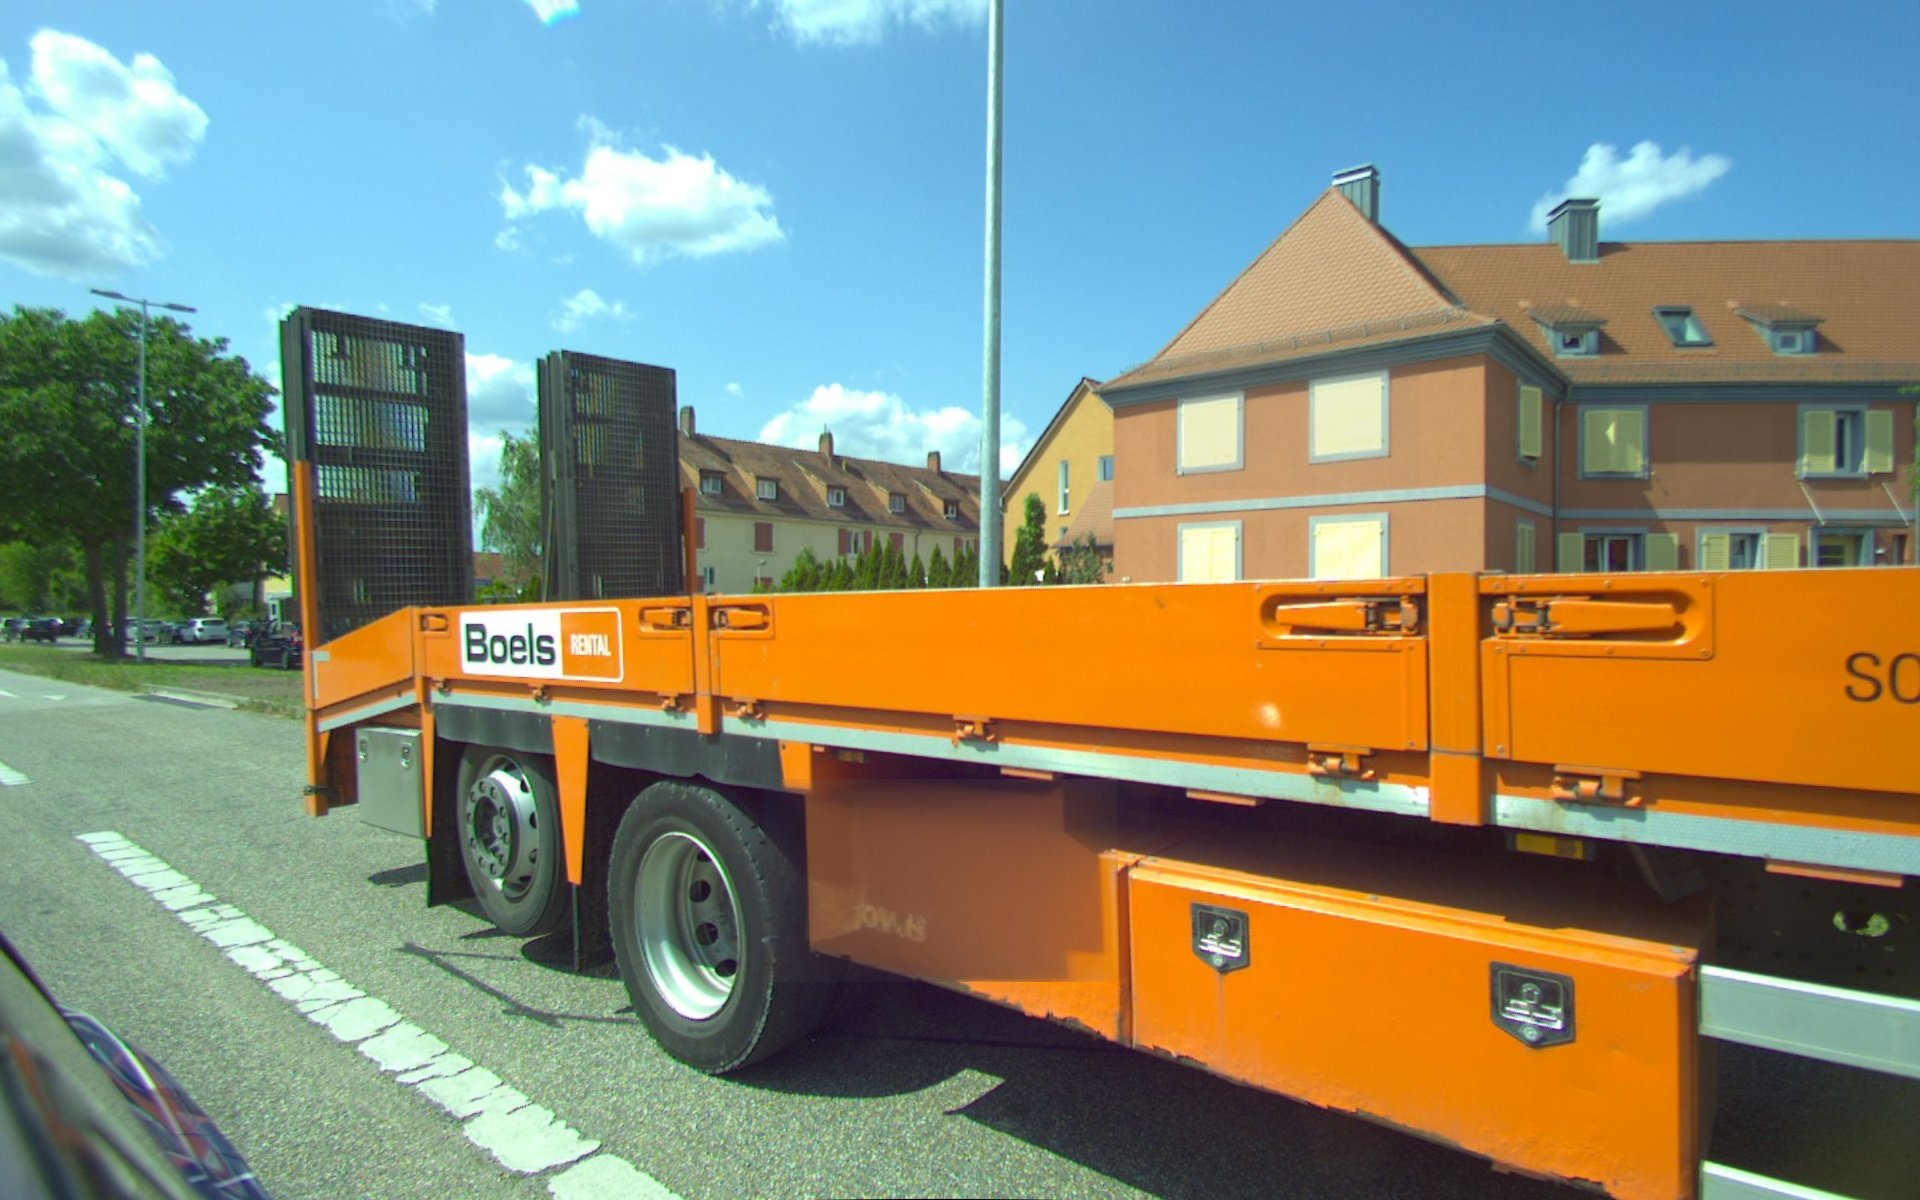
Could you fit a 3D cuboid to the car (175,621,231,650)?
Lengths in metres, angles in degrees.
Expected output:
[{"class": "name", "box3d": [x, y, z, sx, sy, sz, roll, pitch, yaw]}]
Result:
[{"class": "car", "box3d": [-44.293, 2.065, 59.199, 4.120, 1.496, 1.672, 0, 2, 40]}]

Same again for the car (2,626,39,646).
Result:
[{"class": "car", "box3d": [-83.642, 3.177, 90.109, 4.307, 1.624, 1.645, 0, 2, 37]}]

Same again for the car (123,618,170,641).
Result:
[{"class": "car", "box3d": [-53.496, 1.903, 66.539, 4.527, 1.380, 1.496, -1, 1, 40]}]

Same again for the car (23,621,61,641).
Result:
[{"class": "car", "box3d": [-77.887, 2.615, 85.836, 3.840, 1.462, 1.645, 0, 2, 37]}]

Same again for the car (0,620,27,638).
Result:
[{"class": "car", "box3d": [-88.293, 2.692, 94.101, 3.529, 1.472, 1.579, 0, 2, 37]}]

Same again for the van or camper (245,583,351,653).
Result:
[{"class": "van or camper", "box3d": [-32.479, 0.891, 49.565, 7.313, 3.135, 2.236, -2, 1, 40]}]

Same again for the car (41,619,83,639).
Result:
[{"class": "car", "box3d": [-71.816, 2.307, 80.921, 4.096, 1.492, 1.645, -1, 1, 37]}]

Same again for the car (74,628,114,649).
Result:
[{"class": "car", "box3d": [-65.004, 2.891, 75.938, 3.472, 1.405, 1.548, 0, 2, 38]}]

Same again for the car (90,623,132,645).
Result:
[{"class": "car", "box3d": [-61.520, 2.443, 73.295, 4.350, 1.405, 1.389, -1, 1, 38]}]

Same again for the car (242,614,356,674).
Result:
[{"class": "car", "box3d": [-19.887, 1.272, 30.393, 3.997, 1.702, 1.776, -1, -1, 40]}]

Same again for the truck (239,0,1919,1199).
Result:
[{"class": "truck", "box3d": [1.120, -0.439, 3.184, 11.064, 3.439, 3.039, 0, 2, 42]}]

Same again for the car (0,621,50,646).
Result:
[{"class": "car", "box3d": [-58.064, 2.077, 62.715, 4.570, 1.449, 1.754, 0, -1, 39]}]

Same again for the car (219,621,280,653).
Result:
[{"class": "car", "box3d": [-37.781, 1.938, 53.764, 3.989, 1.496, 1.620, 0, 2, 40]}]
